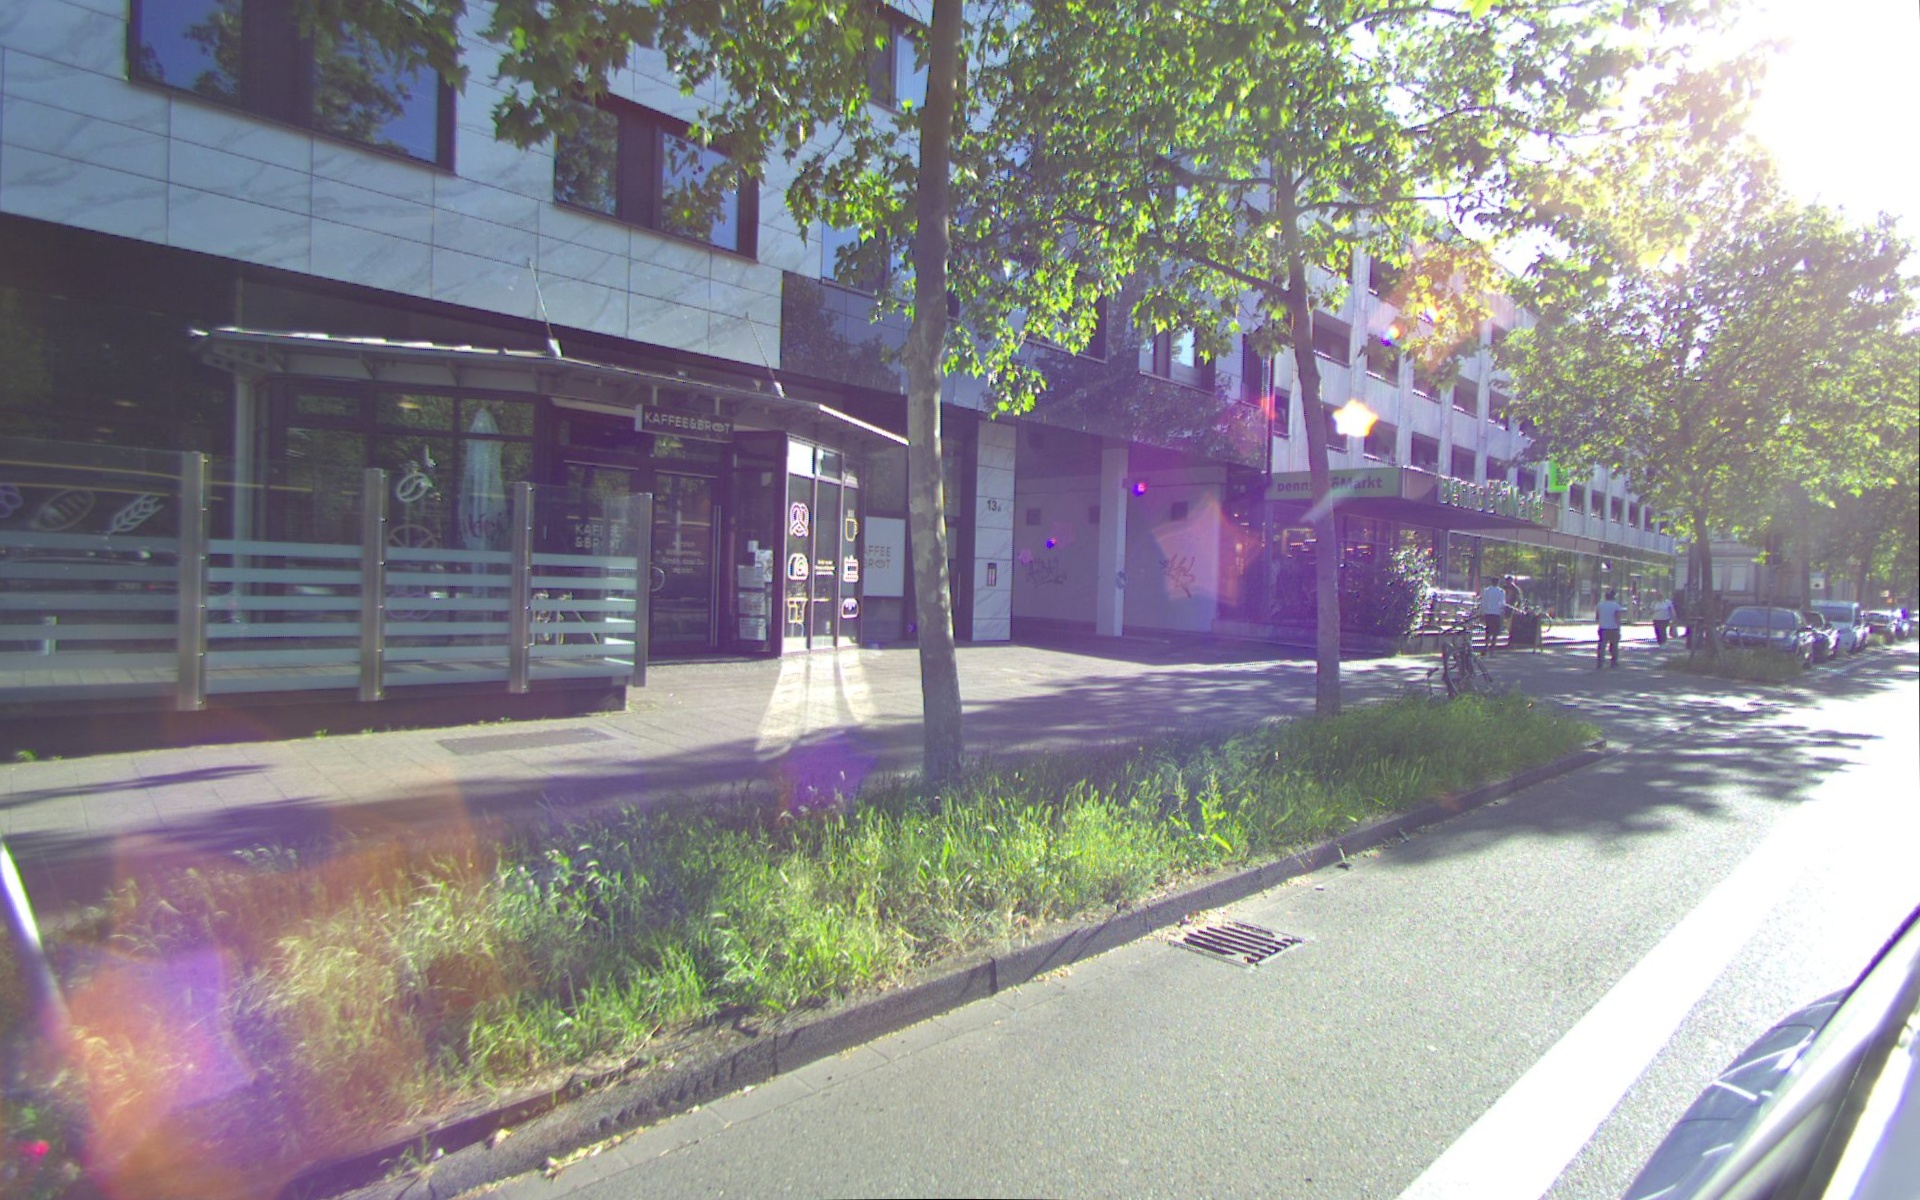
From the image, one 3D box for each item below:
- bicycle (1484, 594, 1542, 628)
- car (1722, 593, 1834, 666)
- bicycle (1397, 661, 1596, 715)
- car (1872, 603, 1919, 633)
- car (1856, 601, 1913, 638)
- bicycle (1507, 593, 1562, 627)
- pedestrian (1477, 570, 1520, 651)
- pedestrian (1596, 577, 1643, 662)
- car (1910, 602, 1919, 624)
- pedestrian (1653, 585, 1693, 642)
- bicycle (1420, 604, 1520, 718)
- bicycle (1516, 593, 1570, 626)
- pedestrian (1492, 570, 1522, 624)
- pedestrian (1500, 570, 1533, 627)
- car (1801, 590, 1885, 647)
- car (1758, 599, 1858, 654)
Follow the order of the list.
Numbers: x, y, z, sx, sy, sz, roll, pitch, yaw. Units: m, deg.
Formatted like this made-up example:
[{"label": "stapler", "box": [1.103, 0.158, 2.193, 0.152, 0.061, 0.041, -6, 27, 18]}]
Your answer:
[{"label": "bicycle", "box": [18.079, 0.347, 33.116, 0.573, 0.927, 1.656, 5, 2, -17]}, {"label": "car", "box": [19.787, 0.657, 24.432, 3.933, 1.569, 1.567, 0, 1, -43]}, {"label": "bicycle", "box": [5.965, 0.947, 11.271, 1.365, 0.357, 1.610, 0, 2, -43]}, {"label": "car", "box": [49.583, 0.920, 53.560, 3.865, 1.459, 1.628, 0, 3, -44]}, {"label": "car", "box": [42.272, 0.849, 46.259, 3.630, 1.455, 1.675, -1, 4, -45]}, {"label": "bicycle", "box": [20.445, 0.338, 36.053, 0.573, 1.068, 1.710, 4, 2, -17]}, {"label": "pedestrian", "box": [12.199, 0.230, 22.902, 0.864, 1.766, 0.560, 1, 2, -44]}, {"label": "pedestrian", "box": [13.851, 0.404, 21.255, 1.034, 1.725, 0.560, 1, 2, -44]}, {"label": "car", "box": [71.475, 0.934, 74.661, 4.202, 1.584, 1.836, 0, 1, -44]}, {"label": "pedestrian", "box": [21.254, 0.404, 30.167, 0.853, 1.632, 0.699, 1, 3, -42]}, {"label": "bicycle", "box": [5.862, 0.640, 11.585, 0.785, 1.147, 1.824, 2, 2, 33]}, {"label": "bicycle", "box": [21.082, 0.333, 36.648, 0.573, 1.068, 1.710, 3, 3, -17]}, {"label": "pedestrian", "box": [18.573, -0.117, 34.375, 0.607, 1.735, 0.609, 8, 4, 22]}, {"label": "pedestrian", "box": [16.996, -0.054, 30.926, 0.867, 1.698, 0.558, 0, 3, -44]}, {"label": "car", "box": [31.264, 0.616, 35.785, 4.319, 1.814, 1.766, 1, 2, -43]}, {"label": "car", "box": [24.441, 0.701, 29.119, 4.623, 1.436, 1.763, 0, 1, -45]}]
